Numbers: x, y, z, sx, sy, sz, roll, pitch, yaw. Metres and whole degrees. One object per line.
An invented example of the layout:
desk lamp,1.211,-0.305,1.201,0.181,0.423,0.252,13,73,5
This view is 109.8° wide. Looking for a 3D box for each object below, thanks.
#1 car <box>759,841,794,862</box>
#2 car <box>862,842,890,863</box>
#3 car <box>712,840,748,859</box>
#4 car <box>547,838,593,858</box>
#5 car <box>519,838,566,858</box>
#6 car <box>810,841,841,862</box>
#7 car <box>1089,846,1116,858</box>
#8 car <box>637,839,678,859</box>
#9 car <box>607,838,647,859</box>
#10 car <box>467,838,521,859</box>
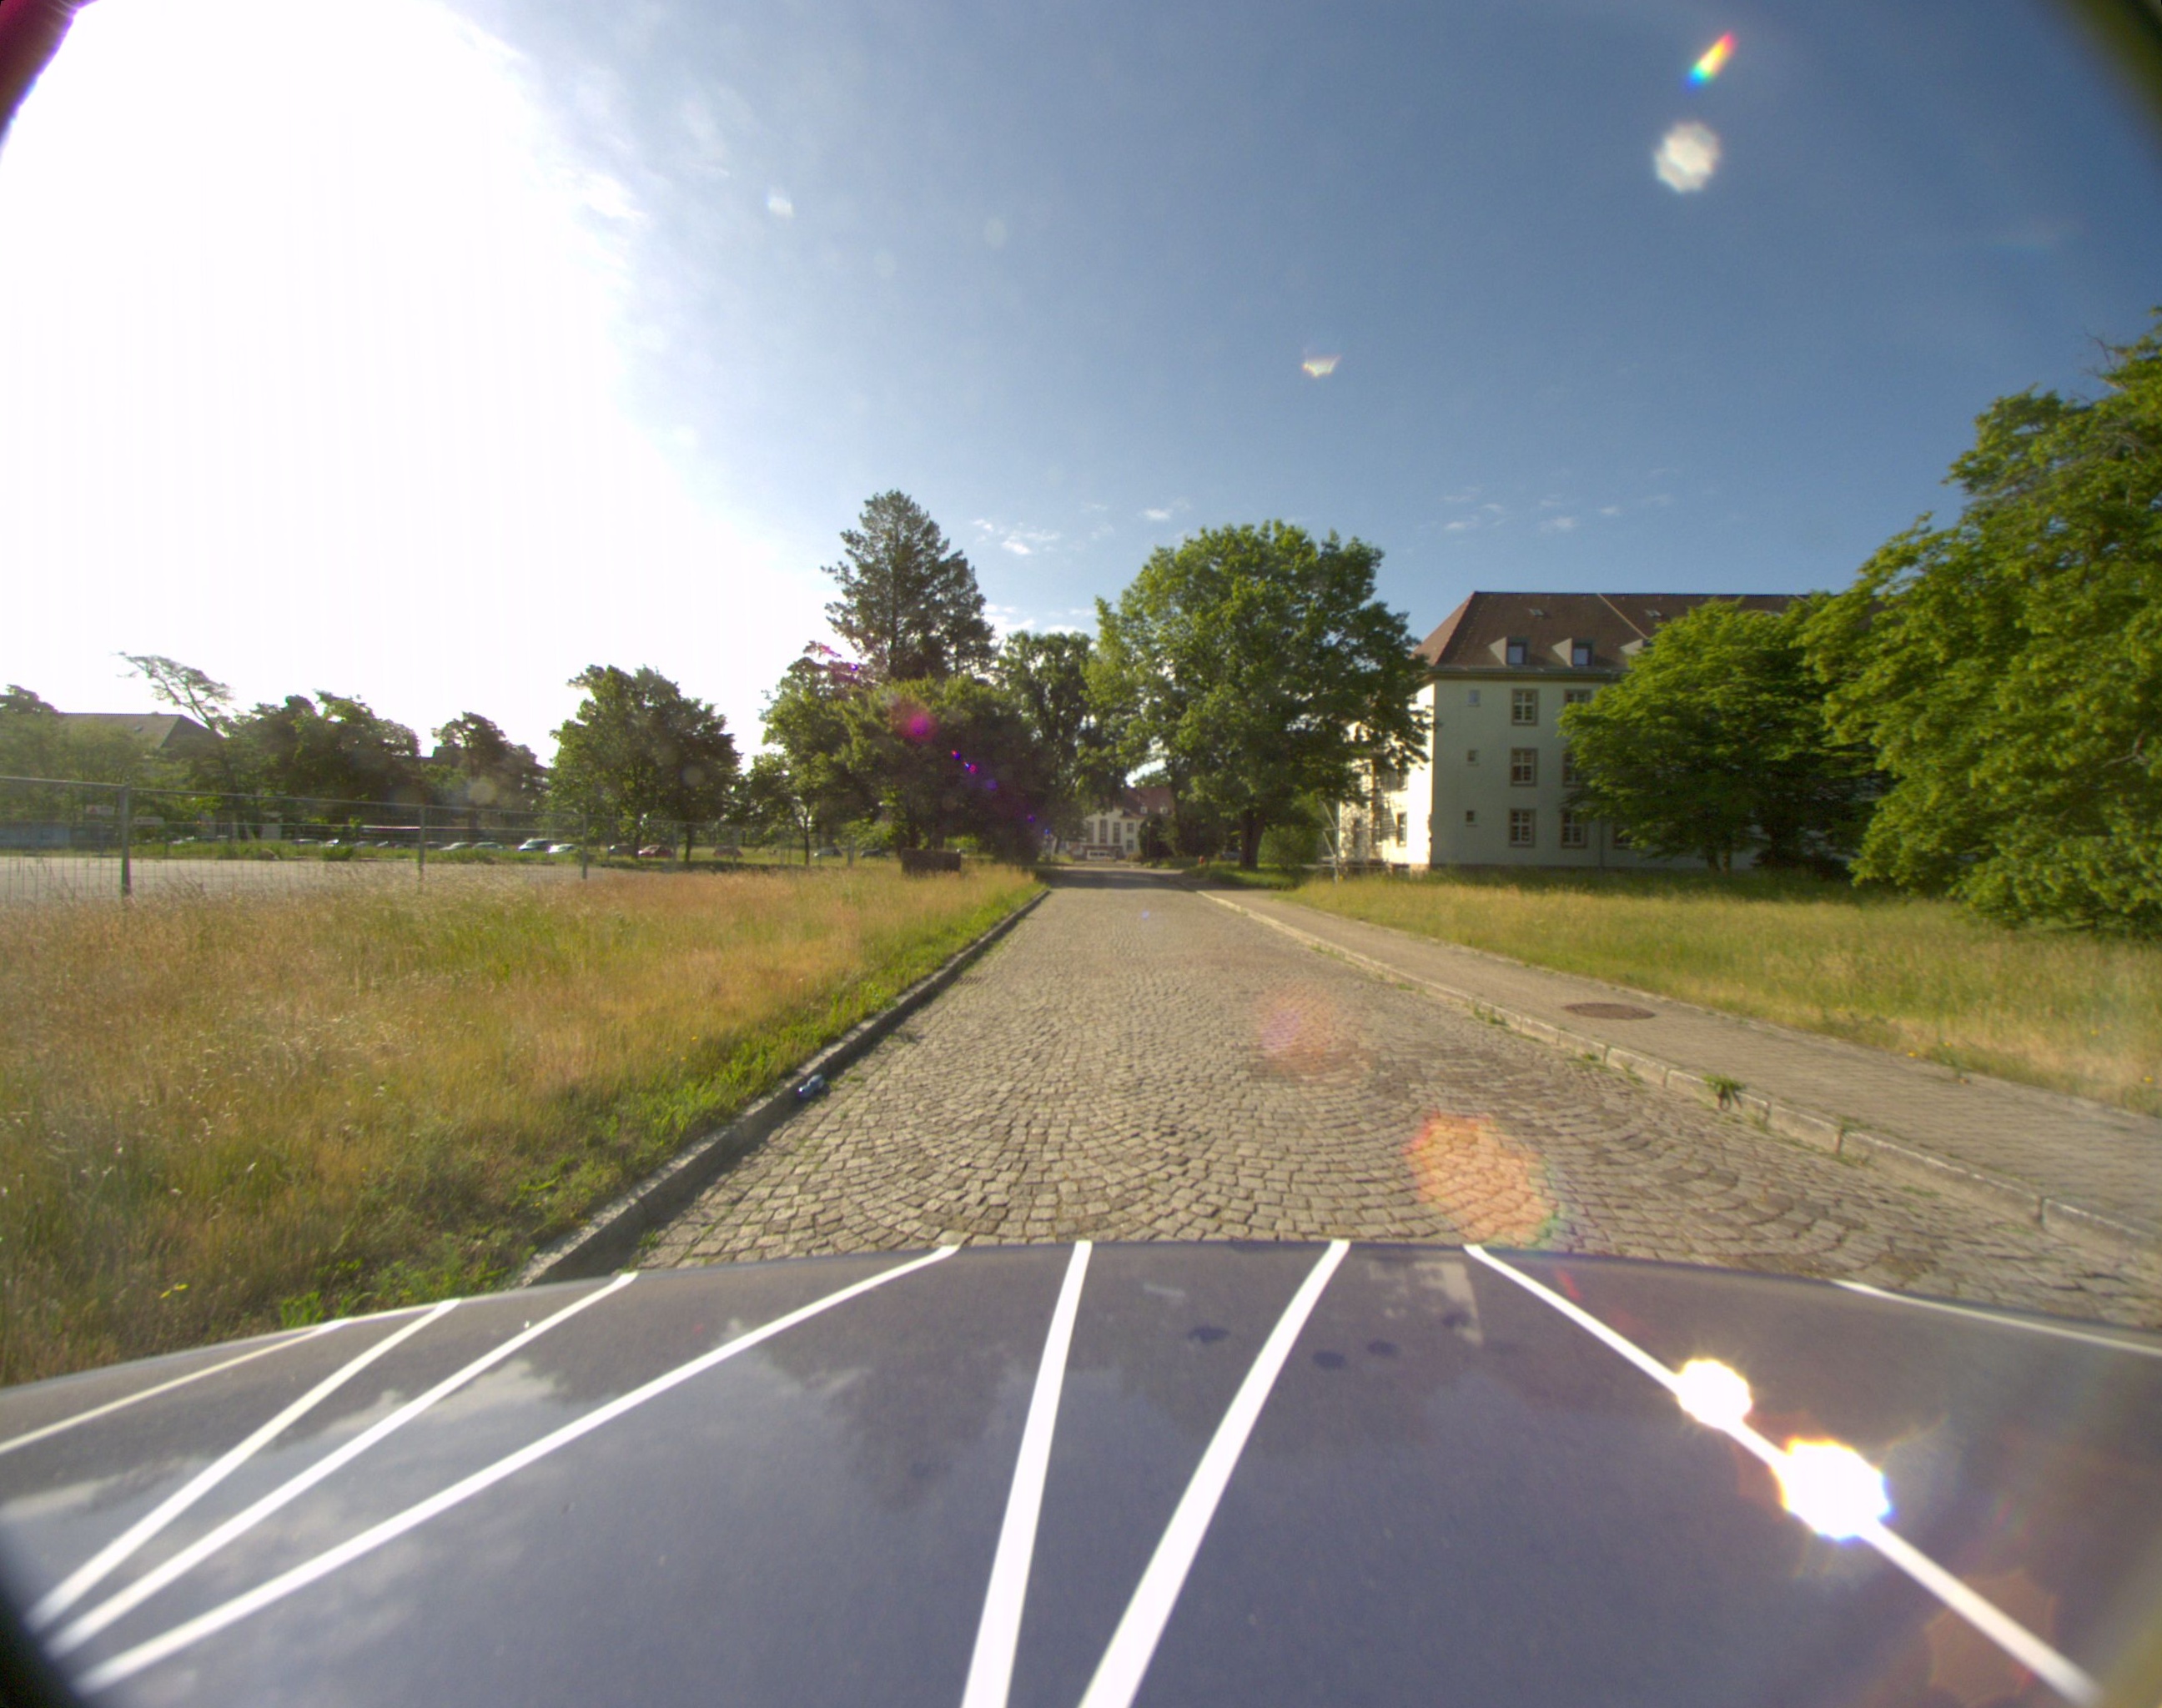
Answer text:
car,-30.874,-0.289,77.257,1.999,2.002,3.999,1,1,-1
car,-20.510,-0.142,76.178,1.999,2.002,3.998,1,0,-5
car,-35.522,-0.450,76.966,1.999,1.805,3.998,1,1,-5
car,-52.072,-0.653,77.530,1.999,1.936,3.999,1,1,-1
car,-54.543,-0.616,77.047,1.999,2.002,3.999,1,1,-1
car,-25.681,-0.255,76.517,1.999,2.002,3.998,1,0,-5
car,3.908,-0.350,138.124,4.870,2.083,2.000,1,1,1
car,-42.986,-0.526,77.201,1.999,2.002,3.999,1,1,0
car,-45.947,-0.553,76.943,2.000,2.002,3.997,1,1,-7
car,-59.867,-0.616,77.604,1.997,2.002,4.002,-2,1,8
